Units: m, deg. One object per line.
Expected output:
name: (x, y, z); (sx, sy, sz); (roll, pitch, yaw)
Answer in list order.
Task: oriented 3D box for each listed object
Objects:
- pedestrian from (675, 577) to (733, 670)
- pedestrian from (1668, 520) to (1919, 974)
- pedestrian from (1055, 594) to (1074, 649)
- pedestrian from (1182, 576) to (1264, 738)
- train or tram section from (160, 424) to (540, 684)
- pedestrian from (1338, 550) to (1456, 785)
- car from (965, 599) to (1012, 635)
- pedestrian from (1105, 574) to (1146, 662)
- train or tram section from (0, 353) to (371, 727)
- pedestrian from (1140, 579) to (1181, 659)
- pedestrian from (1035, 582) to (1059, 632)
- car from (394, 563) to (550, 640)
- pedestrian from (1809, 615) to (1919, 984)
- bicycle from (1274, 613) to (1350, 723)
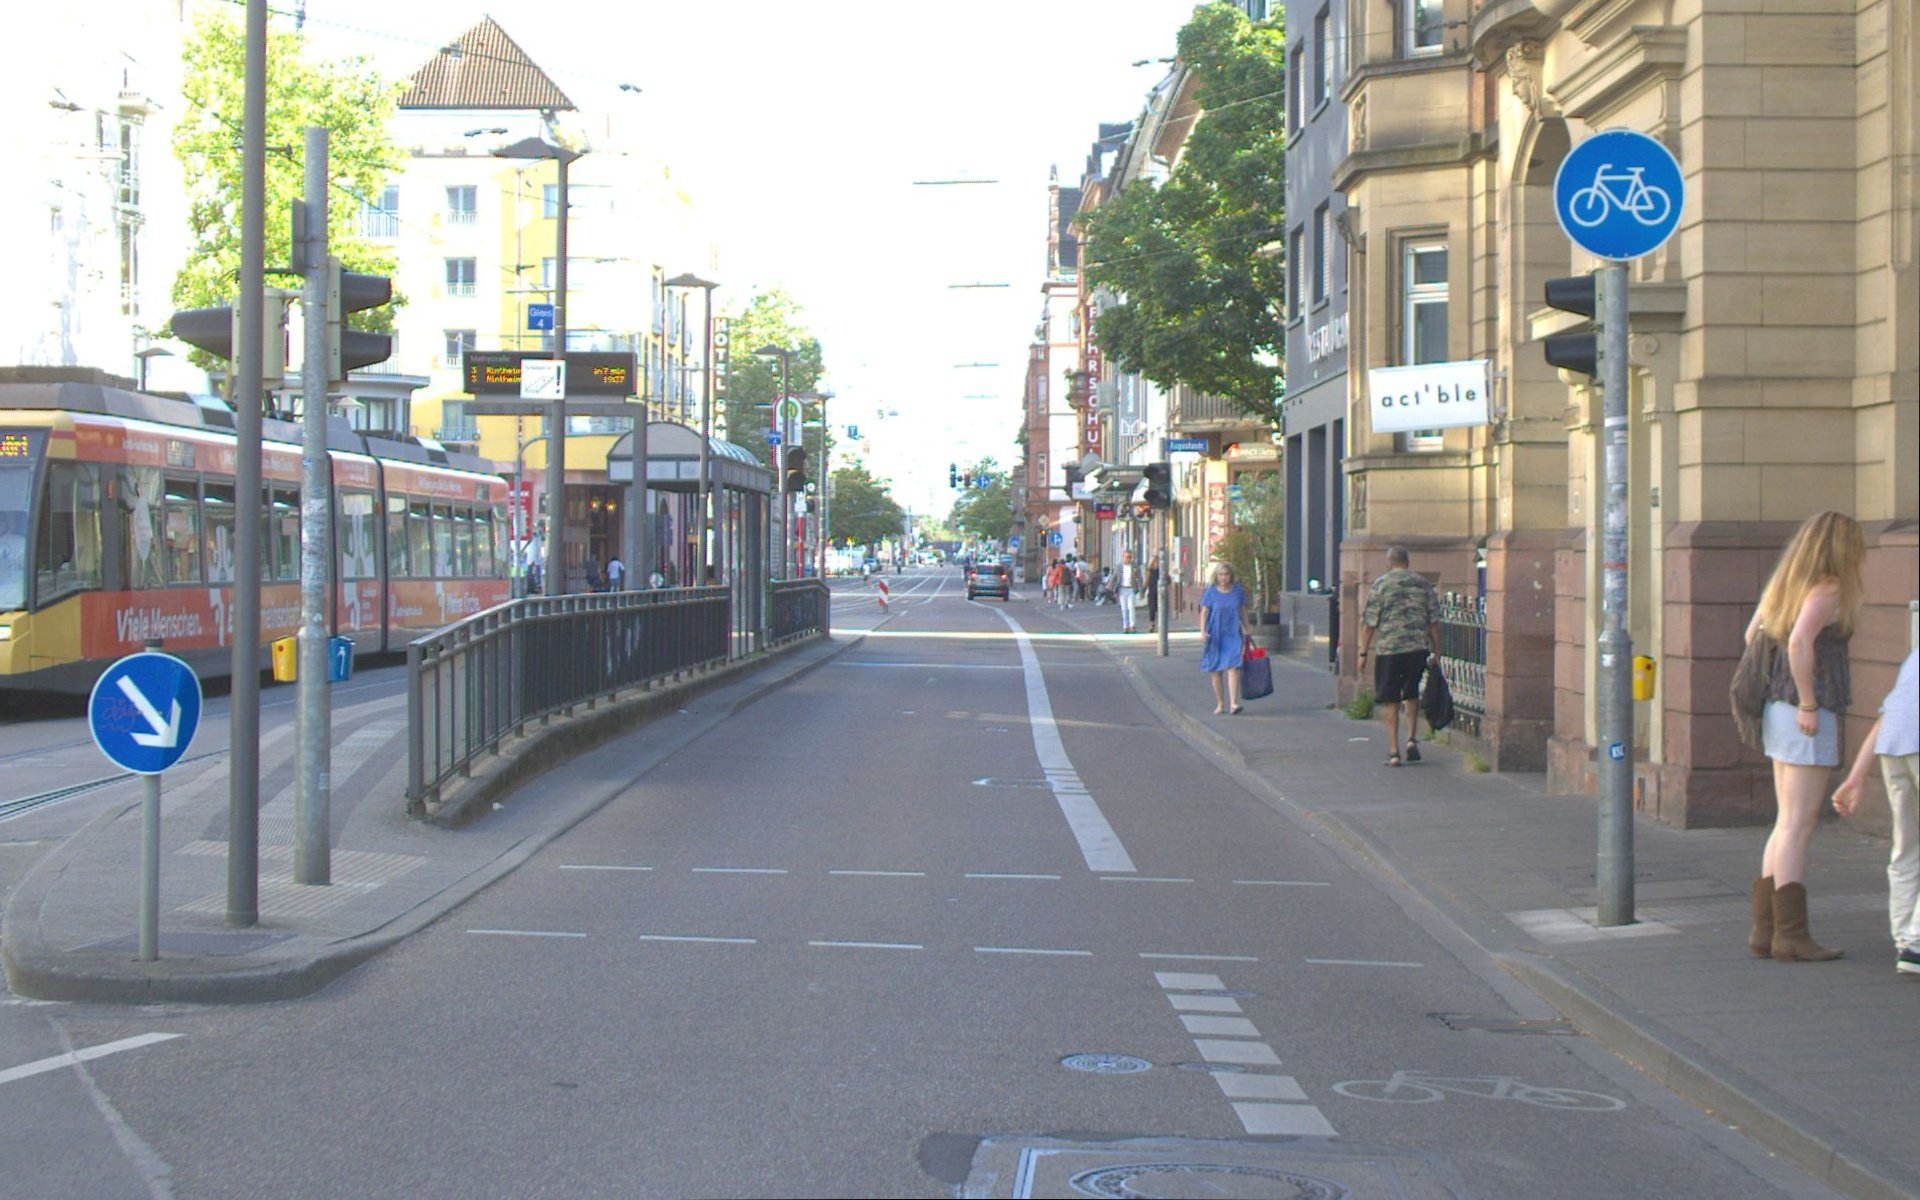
pedestrian: (-3.264, 0.301, 43.858); (0.685, 1.172, 0.537); (0, 1, 1)
pedestrian: (3.270, 0.562, 13.466); (0.794, 1.715, 0.719); (-1, -1, -1)
pedestrian: (3.418, 0.693, 112.309); (0.560, 1.790, 0.650); (1, 1, 7)
pedestrian: (2.738, 0.589, 35.856); (0.762, 1.640, 0.832); (-1, 1, 0)
train or tram section: (-9.127, -0.707, 53.727); (2.885, 3.478, 14.950); (1, 1, 1)
pedestrian: (3.469, 0.527, 27.342); (0.801, 1.817, 0.797); (-1, 1, 0)
car: (1.252, 0.730, 150.900); (1.993, 1.444, 4.000); (1, 1, 0)
pedestrian: (3.419, 0.361, 71.175); (0.713, 1.768, 0.773); (-2, 2, -3)
train or tram section: (-9.456, -0.651, 39.093); (2.885, 3.478, 14.168); (1, 1, 1)
pedestrian: (4.152, 0.393, 71.367); (0.713, 1.597, 0.773); (-2, 2, -3)
pedestrian: (3.329, 0.256, 131.455); (0.843, 1.911, 0.661); (0, 1, -1)
car: (-17.128, 0.034, 120.747); (5.106, 2.567, 2.128); (1, 1, 1)
pedestrian: (3.664, 0.719, 12.782); (0.794, 1.327, 0.719); (-1, -1, -1)
bicycle: (4.151, 0.786, 40.650); (0.623, 1.194, 1.908); (-2, 1, -1)
